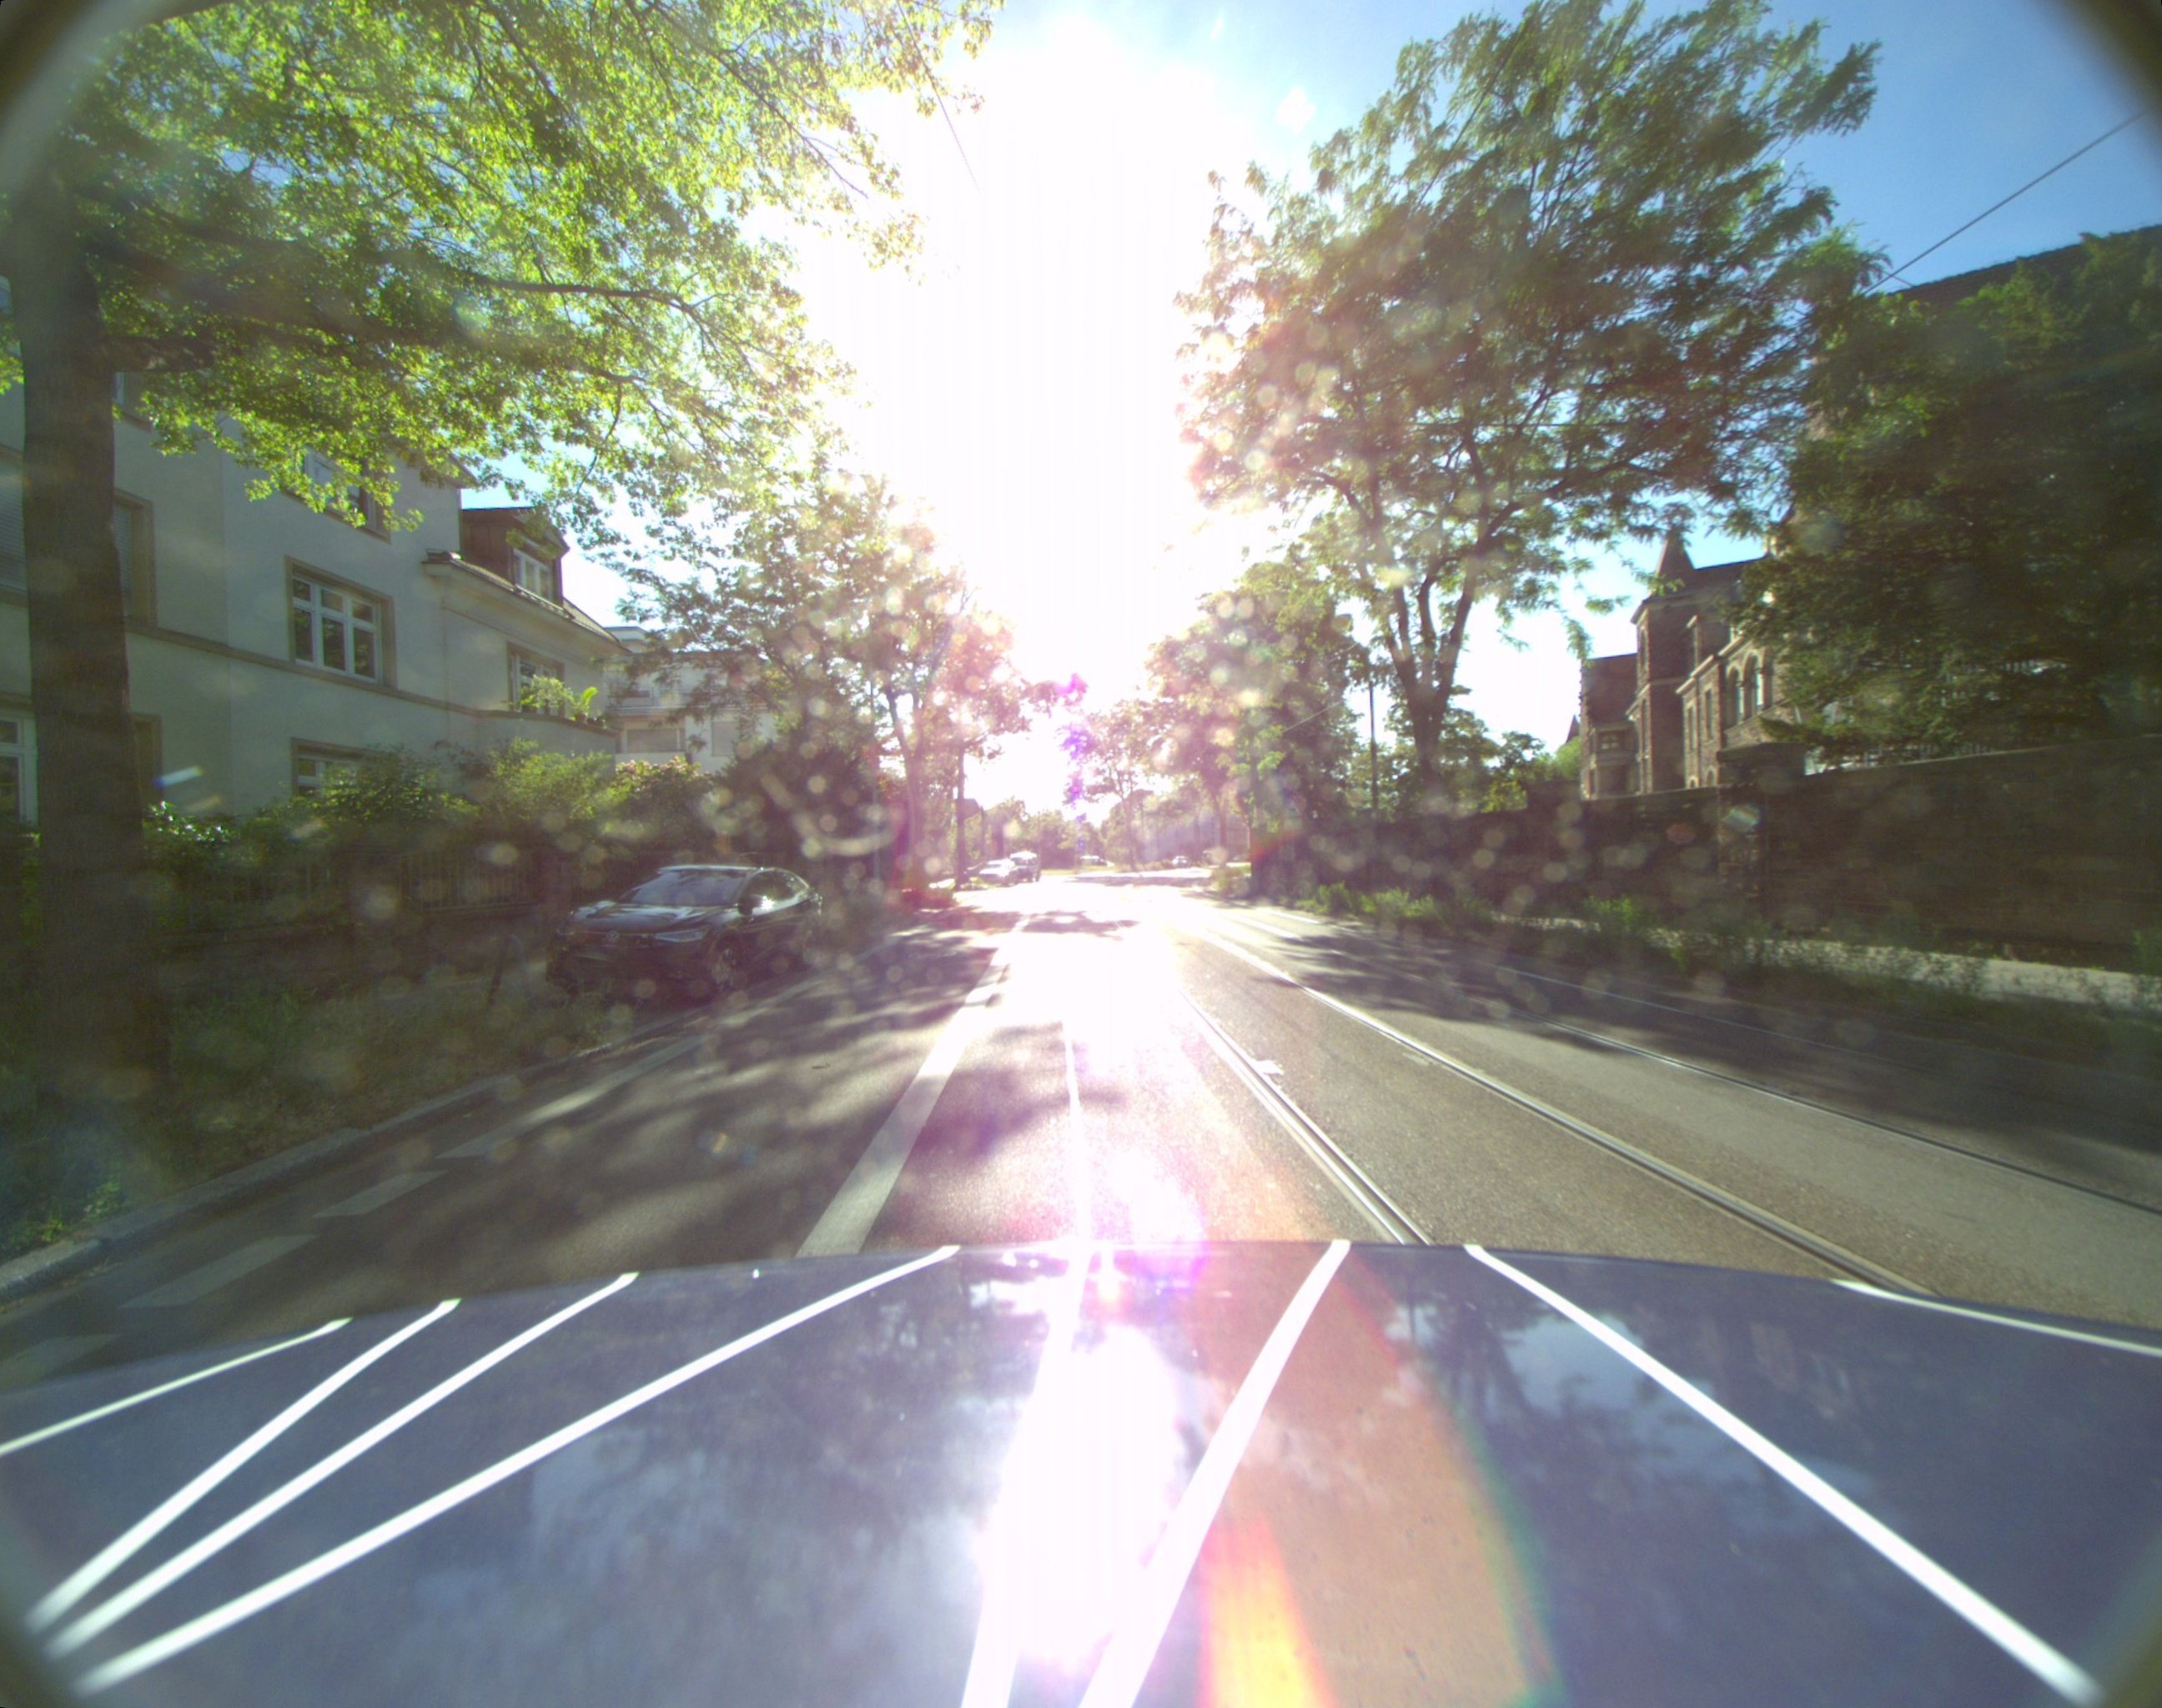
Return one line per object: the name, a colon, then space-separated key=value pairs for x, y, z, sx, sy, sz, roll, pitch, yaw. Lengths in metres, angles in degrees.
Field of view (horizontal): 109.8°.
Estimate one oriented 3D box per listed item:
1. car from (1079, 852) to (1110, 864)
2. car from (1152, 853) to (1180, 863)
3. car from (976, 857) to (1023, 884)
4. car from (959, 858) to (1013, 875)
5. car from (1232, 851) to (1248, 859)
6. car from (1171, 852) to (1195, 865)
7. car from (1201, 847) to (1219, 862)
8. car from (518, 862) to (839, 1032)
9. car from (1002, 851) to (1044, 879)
car: x=2.300 y=0.681 z=127.664 sx=5.208 sy=1.874 sz=2.100 roll=-2 pitch=0 yaw=2
car: x=14.190 y=0.620 z=127.504 sx=4.459 sy=1.482 sz=2.008 roll=-1 pitch=4 yaw=2
car: x=-4.700 y=0.920 z=44.371 sx=1.998 sy=1.415 sz=4.333 roll=-1 pitch=1 yaw=4
car: x=-8.520 y=1.135 z=68.465 sx=4.521 sy=1.361 sz=1.969 roll=-2 pitch=0 yaw=2
car: x=30.141 y=0.141 z=143.768 sx=1.739 sy=1.487 sz=4.538 roll=-2 pitch=0 yaw=29
car: x=13.183 y=0.573 z=97.822 sx=2.002 sy=1.457 sz=5.440 roll=2 pitch=2 yaw=18
car: x=19.502 y=0.073 z=115.043 sx=1.996 sy=2.083 sz=4.722 roll=-1 pitch=0 yaw=18
car: x=-5.025 y=1.011 z=10.421 sx=1.809 sy=1.684 sz=4.728 roll=2 pitch=0 yaw=1
car: x=-3.772 y=0.676 z=50.307 sx=2.027 sy=1.736 sz=4.753 roll=-1 pitch=0 yaw=4
